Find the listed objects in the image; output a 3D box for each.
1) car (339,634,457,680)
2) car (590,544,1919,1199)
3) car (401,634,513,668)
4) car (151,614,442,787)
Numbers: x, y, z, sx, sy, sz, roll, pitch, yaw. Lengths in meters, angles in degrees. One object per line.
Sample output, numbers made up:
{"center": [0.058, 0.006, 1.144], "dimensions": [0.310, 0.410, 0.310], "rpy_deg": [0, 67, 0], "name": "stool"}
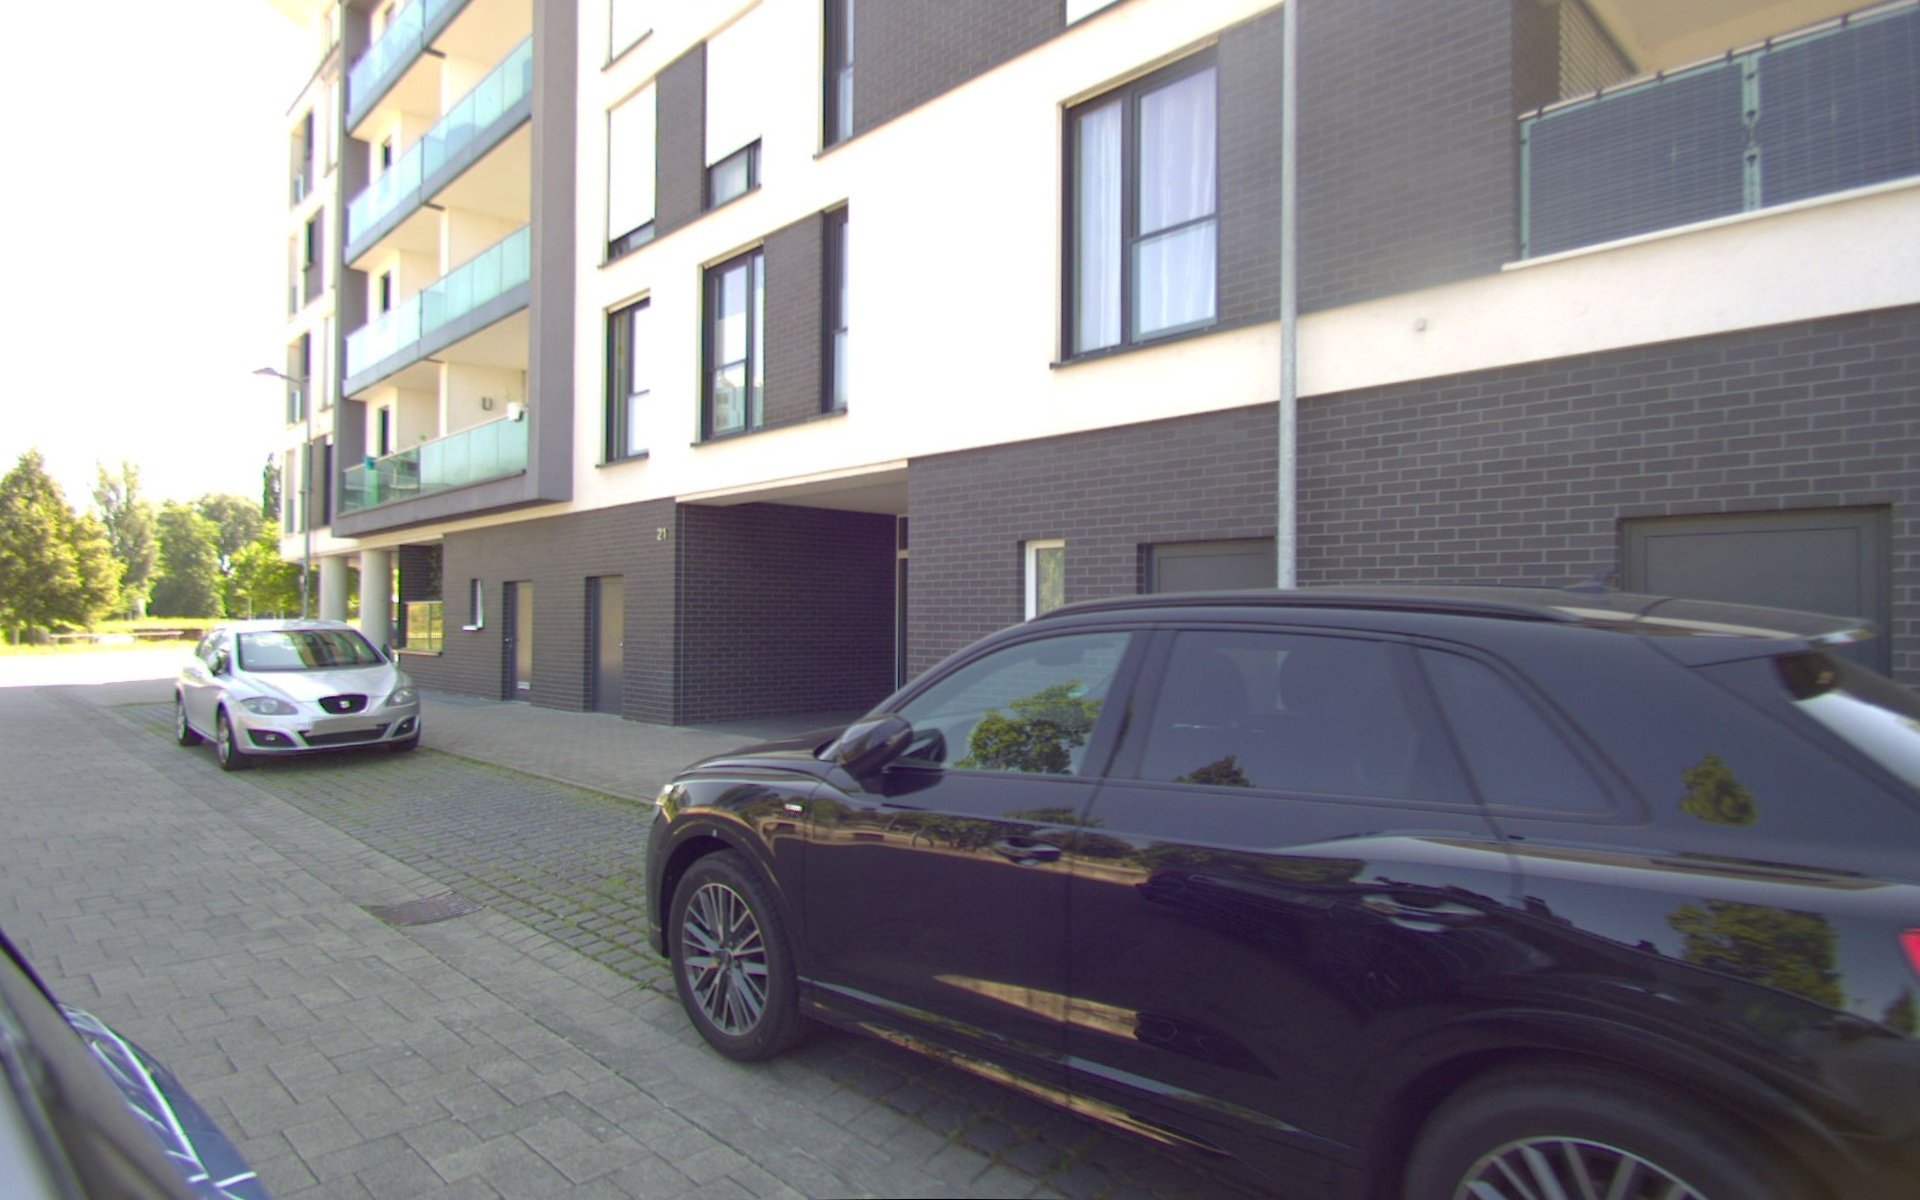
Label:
{"center": [-23.718, 2.354, 42.845], "dimensions": [1.988, 1.796, 3.967], "rpy_deg": [-1, -2, 24], "name": "car"}
{"center": [0.733, 0.710, 3.158], "dimensions": [4.397, 1.531, 1.754], "rpy_deg": [-1, -1, 43], "name": "car"}
{"center": [-20.851, 2.084, 42.114], "dimensions": [1.768, 1.280, 3.967], "rpy_deg": [-1, -1, 24], "name": "car"}
{"center": [-7.427, 0.944, 11.157], "dimensions": [4.115, 1.516, 1.763], "rpy_deg": [-1, 0, 43], "name": "car"}
